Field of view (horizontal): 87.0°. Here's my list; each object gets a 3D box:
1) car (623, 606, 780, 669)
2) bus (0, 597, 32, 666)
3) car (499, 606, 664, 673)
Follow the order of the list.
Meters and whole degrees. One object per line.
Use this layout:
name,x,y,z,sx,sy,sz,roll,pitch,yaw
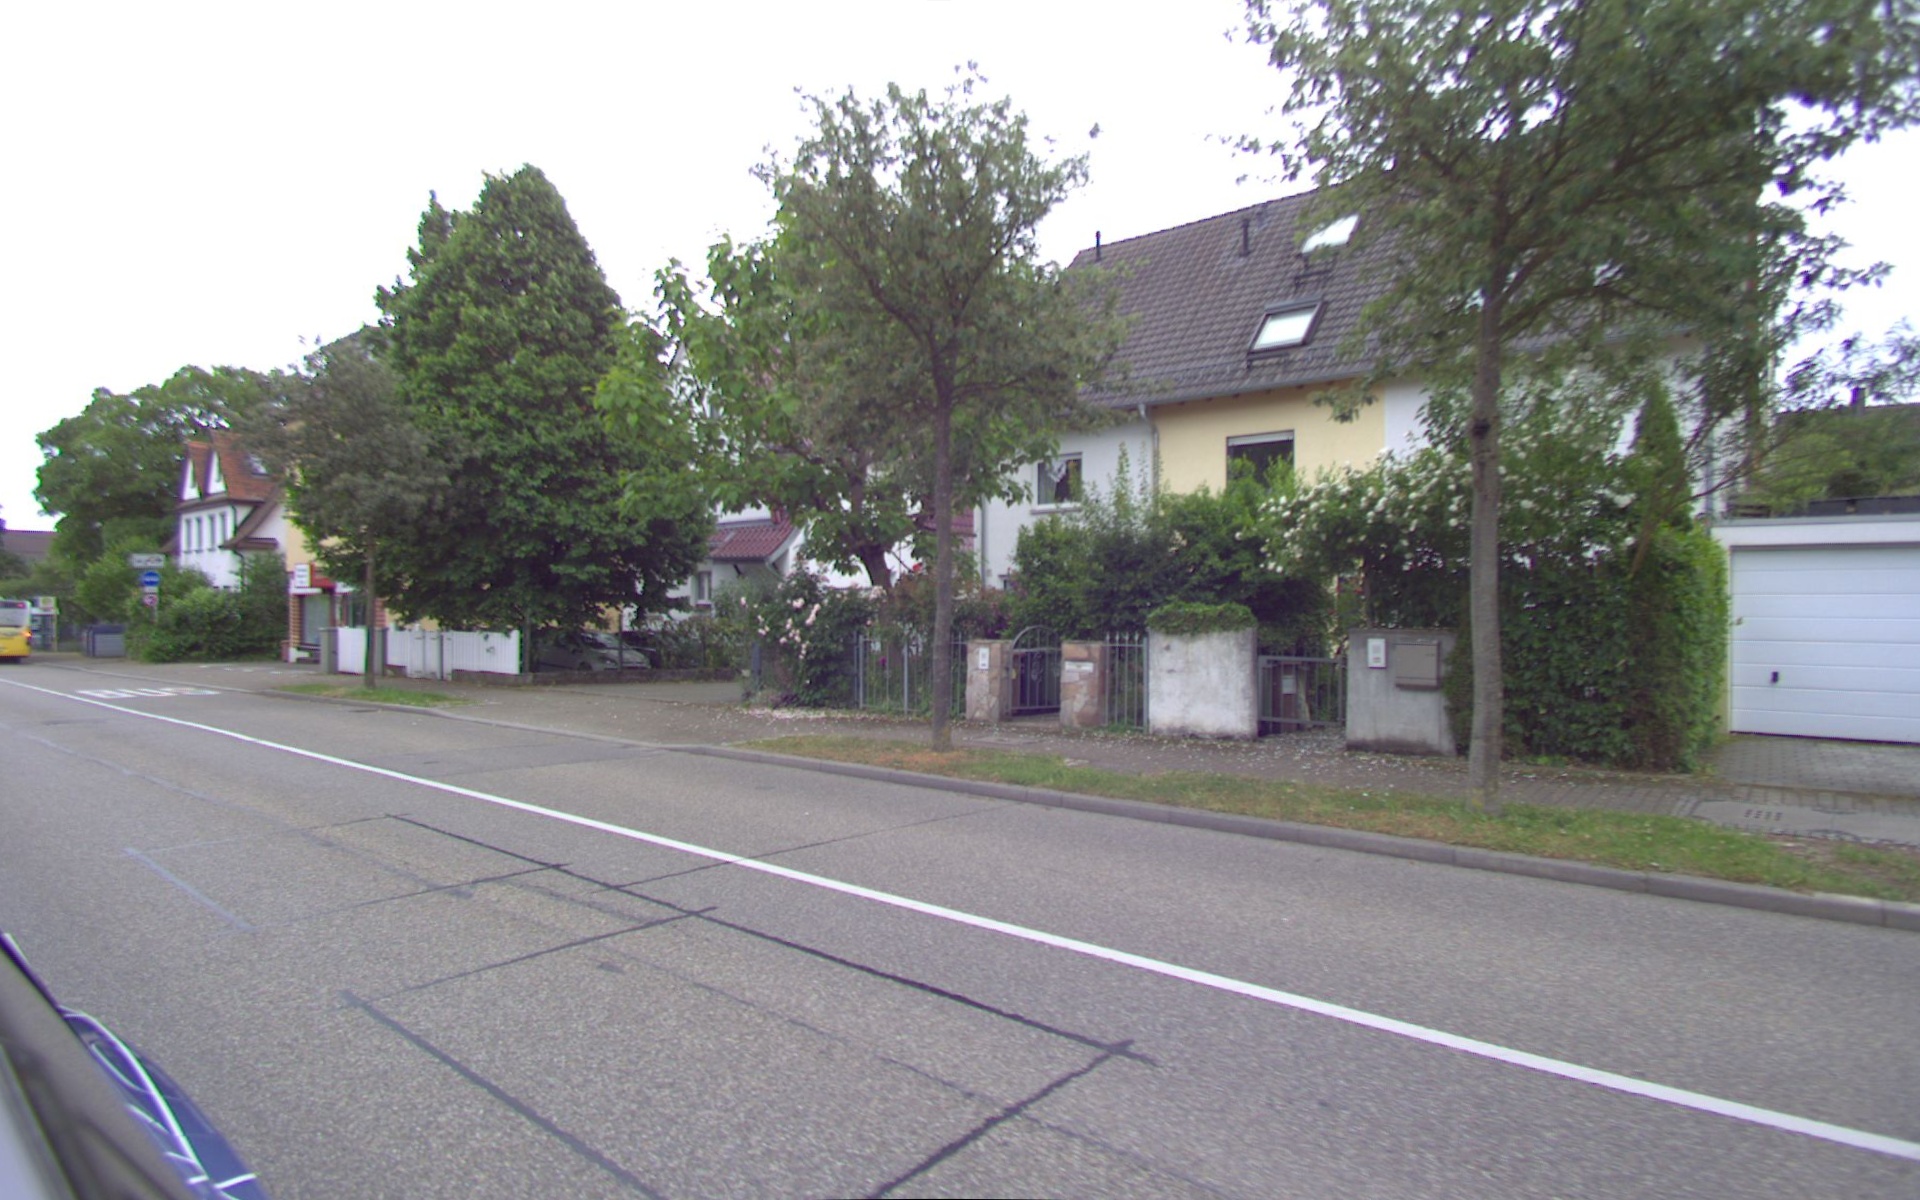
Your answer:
car,-7.279,1.096,28.289,4.610,1.576,1.789,-3,-4,37
bus,-47.899,1.513,49.299,12.063,3.109,2.604,-1,-2,41
car,-9.799,1.026,26.055,4.610,1.576,1.789,-2,-3,37
